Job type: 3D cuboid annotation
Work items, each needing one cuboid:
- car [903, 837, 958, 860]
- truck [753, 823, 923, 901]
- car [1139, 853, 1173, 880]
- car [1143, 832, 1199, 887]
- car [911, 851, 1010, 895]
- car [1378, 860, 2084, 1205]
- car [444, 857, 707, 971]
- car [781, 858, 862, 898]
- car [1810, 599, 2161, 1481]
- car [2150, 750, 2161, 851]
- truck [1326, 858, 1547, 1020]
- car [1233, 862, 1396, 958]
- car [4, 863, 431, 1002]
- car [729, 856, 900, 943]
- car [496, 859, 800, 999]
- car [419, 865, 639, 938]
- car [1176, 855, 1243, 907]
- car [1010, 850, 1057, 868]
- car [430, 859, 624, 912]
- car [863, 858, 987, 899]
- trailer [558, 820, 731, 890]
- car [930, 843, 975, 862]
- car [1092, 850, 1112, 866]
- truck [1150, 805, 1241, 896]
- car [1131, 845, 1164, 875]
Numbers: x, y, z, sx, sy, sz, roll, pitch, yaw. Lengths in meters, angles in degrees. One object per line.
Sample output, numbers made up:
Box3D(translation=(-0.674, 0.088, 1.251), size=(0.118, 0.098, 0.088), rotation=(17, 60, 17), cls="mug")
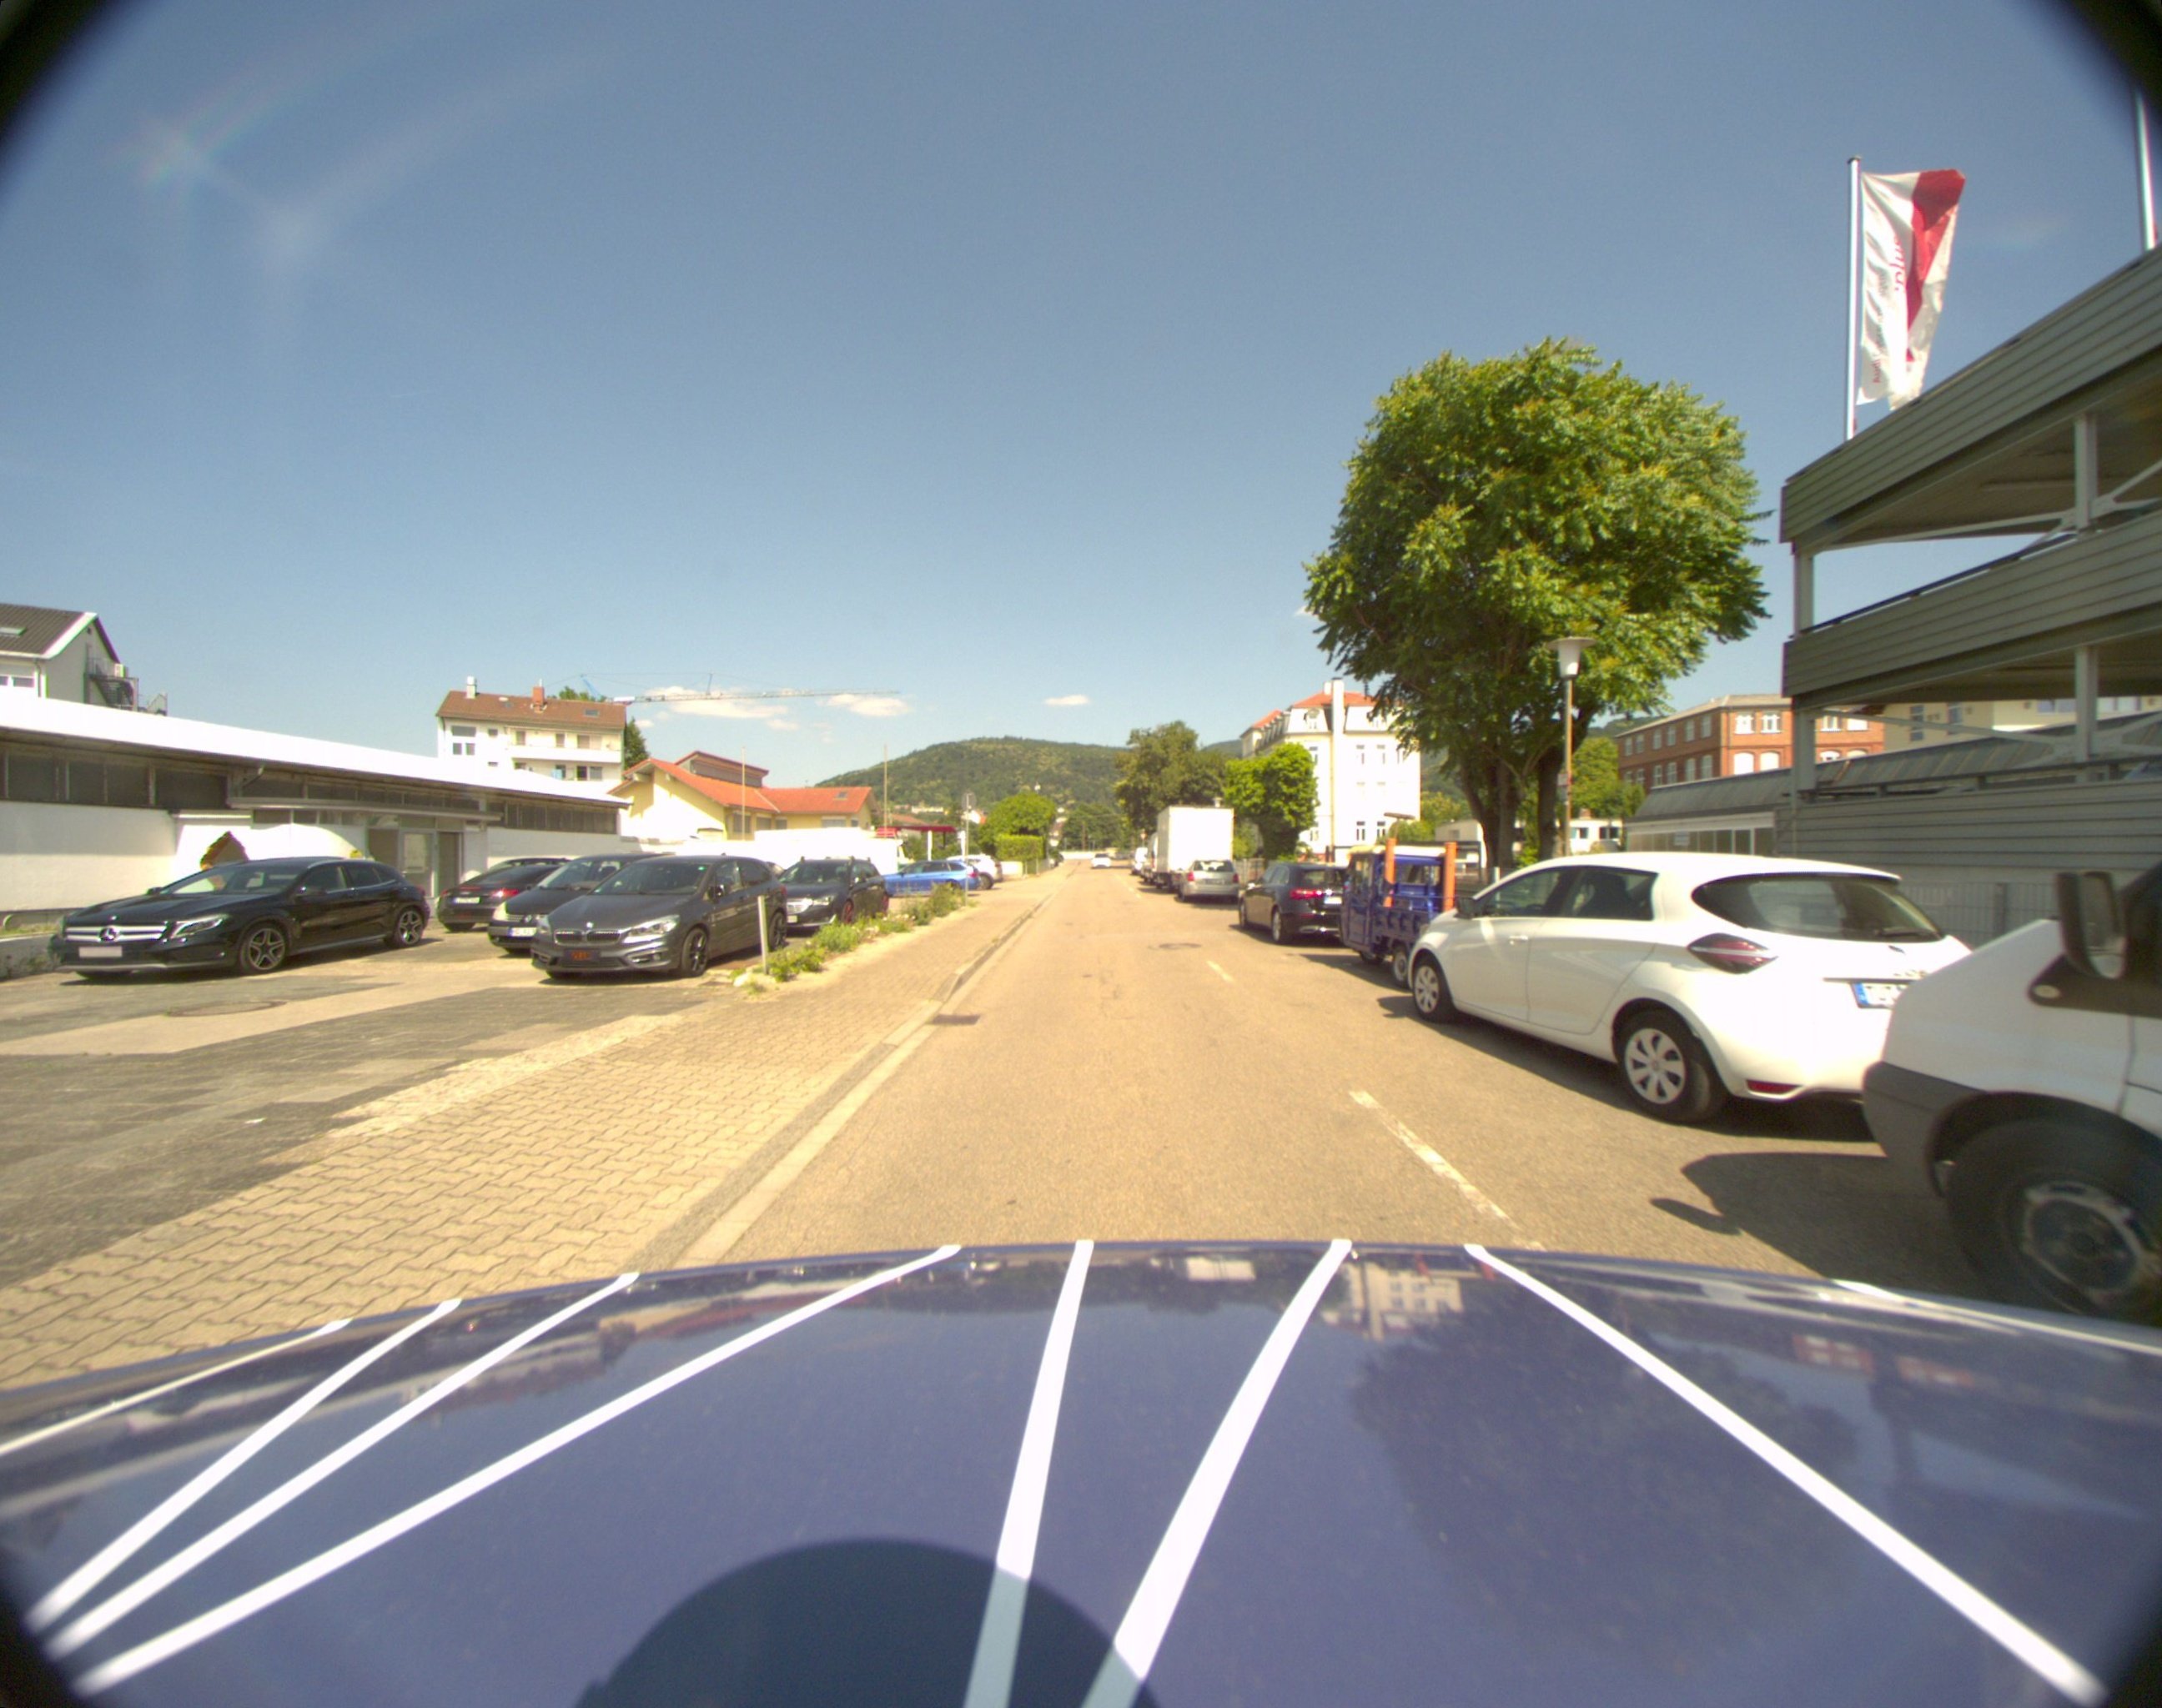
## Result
Box3D(translation=(-17.586, -0.663, 88.792), size=(6.025, 2.663, 2.255), rotation=(0, 1, -22), cls="car")
Box3D(translation=(-12.144, 0.384, 38.366), size=(7.536, 3.403, 2.527), rotation=(-3, 1, 1), cls="truck")
Box3D(translation=(4.727, 0.744, 48.348), size=(1.718, 1.535, 4.400), rotation=(1, 1, 0), cls="car")
Box3D(translation=(4.507, 0.200, 39.315), size=(2.173, 2.581, 6.919), rotation=(1, 1, 1), cls="car")
Box3D(translation=(-5.591, 0.878, 35.499), size=(4.211, 1.672, 1.766), rotation=(-4, 1, 0), cls="car")
Box3D(translation=(4.007, 0.914, 5.733), size=(1.709, 1.615, 3.972), rotation=(2, 0, -4), cls="car")
Box3D(translation=(-8.171, 0.880, 12.734), size=(1.763, 1.585, 3.620), rotation=(-2, 0, 4), cls="car")
Box3D(translation=(-10.437, 0.919, 30.896), size=(1.891, 1.433, 4.454), rotation=(0, 0, -2), cls="car")
Box3D(translation=(3.921, 0.514, 0.364), size=(2.010, 2.352, 5.229), rotation=(1, 0, -1), cls="car")
Box3D(translation=(17.609, -0.801, 10.606), size=(1.812, 1.662, 4.007), rotation=(1, 3, 35), cls="car")
Box3D(translation=(4.148, 0.877, 9.349), size=(1.141, 1.612, 3.140), rotation=(2, 0, -1), cls="truck")
Box3D(translation=(4.143, 0.916, 14.190), size=(1.709, 1.454, 4.113), rotation=(1, 0, -1), cls="car")
Box3D(translation=(-11.585, 0.922, 10.733), size=(1.766, 1.487, 4.145), rotation=(1, 0, -10), cls="car")
Box3D(translation=(-5.418, 0.835, 16.233), size=(1.863, 1.558, 4.951), rotation=(0, 0, 0), cls="car")
Box3D(translation=(-5.709, 0.867, 10.764), size=(1.816, 1.549, 4.292), rotation=(0, 0, 0), cls="car")
Box3D(translation=(-11.821, 0.947, 16.664), size=(1.645, 1.316, 4.101), rotation=(0, 0, 4), cls="car")
Box3D(translation=(4.170, 0.832, 25.240), size=(1.745, 1.512, 4.311), rotation=(1, 0, 4), cls="car")
Box3D(translation=(-4.535, 0.489, 73.374), size=(4.414, 1.518, 1.897), rotation=(2, -1, -1), cls="car")
Box3D(translation=(-15.653, 0.834, 21.759), size=(1.711, 1.316, 4.193), rotation=(0, 0, 22), cls="car")
Box3D(translation=(-6.008, 0.920, 29.605), size=(4.363, 1.433, 1.892), rotation=(-2, 0, 0), cls="car")
Box3D(translation=(-25.011, 0.034, 43.771), size=(8.350, 3.841, 3.068), rotation=(0, 1, 6), cls="trailer")
Box3D(translation=(-14.560, -0.173, 86.037), size=(4.566, 2.138, 1.928), rotation=(1, 1, 19), cls="car")
Box3D(translation=(2.095, 0.346, 75.766), size=(1.895, 1.412, 4.170), rotation=(2, 1, 1), cls="car")
Box3D(translation=(4.549, -0.174, 31.601), size=(2.692, 3.347, 7.128), rotation=(0, 1, 0), cls="truck")
Box3D(translation=(4.760, 0.412, 55.142), size=(1.976, 2.002, 5.055), rotation=(1, 1, 1), cls="car")
